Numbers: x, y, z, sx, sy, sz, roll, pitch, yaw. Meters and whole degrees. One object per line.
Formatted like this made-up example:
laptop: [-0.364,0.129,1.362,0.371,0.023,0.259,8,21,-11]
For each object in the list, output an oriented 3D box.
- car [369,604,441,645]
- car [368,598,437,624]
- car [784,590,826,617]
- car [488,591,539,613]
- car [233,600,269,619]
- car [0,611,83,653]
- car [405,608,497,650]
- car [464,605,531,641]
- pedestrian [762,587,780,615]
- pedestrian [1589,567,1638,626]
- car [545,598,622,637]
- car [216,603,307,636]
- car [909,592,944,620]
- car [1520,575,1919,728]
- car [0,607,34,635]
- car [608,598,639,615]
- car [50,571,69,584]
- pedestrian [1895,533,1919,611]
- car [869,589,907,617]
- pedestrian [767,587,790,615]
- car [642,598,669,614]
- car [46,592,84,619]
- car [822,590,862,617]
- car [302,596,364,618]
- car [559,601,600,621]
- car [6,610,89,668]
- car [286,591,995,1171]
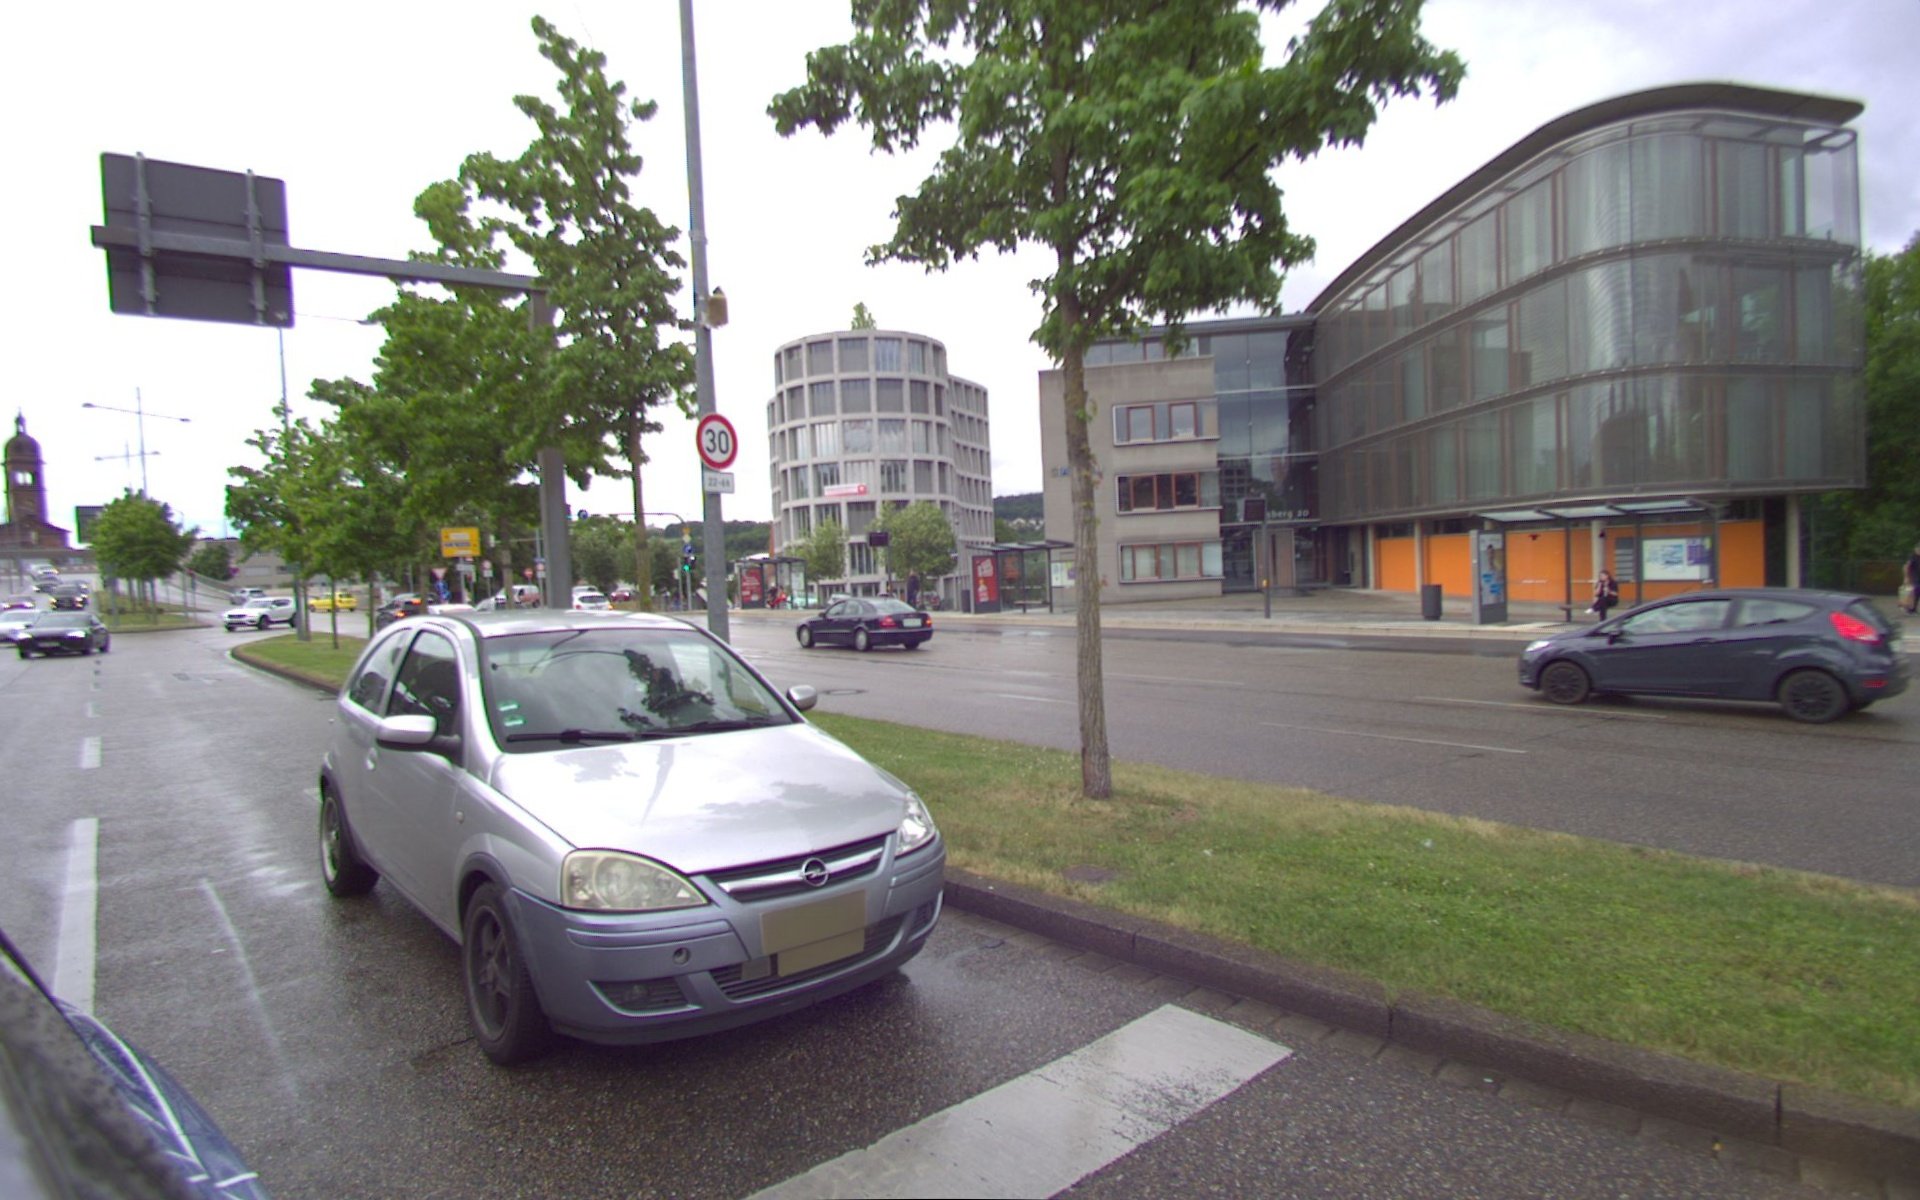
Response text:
car: [-22.659,0.945,41.250,1.979,1.566,4.173,-1,0,-38]
car: [-35.766,0.679,65.075,1.854,1.646,4.150,-1,0,6]
car: [-10.152,0.236,66.573,1.853,1.714,4.152,-1,0,5]
car: [-34.868,0.115,79.116,1.854,1.646,4.150,-1,0,6]
car: [-63.503,0.841,90.664,4.158,1.646,1.850,-1,0,43]
car: [-38.486,1.284,41.662,1.783,1.571,4.058,-1,0,-10]
car: [-17.942,0.973,35.607,1.980,1.363,4.171,-1,0,-40]
car: [-20.099,0.960,43.919,1.673,1.476,4.461,-1,0,-38]
pedestrian: [-10.127,0.048,54.137,0.721,1.501,0.736,-1,0,-32]
pedestrian: [14.793,-0.083,22.905,0.658,1.309,0.721,-1,0,-35]
car: [-16.635,0.742,44.590,1.930,1.630,4.216,-1,0,-39]
car: [-37.074,1.007,53.860,1.851,1.646,4.300,-1,0,1]
car: [-2.155,0.368,66.093,1.853,1.714,4.152,-1,0,5]
car: [9.086,0.512,12.084,1.655,1.523,3.872,-1,0,-37]
car: [-70.868,1.521,76.014,1.970,2.029,4.004,-1,0,-43]
car: [-34.205,0.678,102.907,1.850,1.646,4.158,-1,0,-1]
car: [-119.843,-2.961,134.648,3.651,1.572,1.626,0,0,44]
pedestrian: [22.187,-0.649,23.189,0.772,1.769,0.828,-3,1,-20]
car: [-4.676,0.166,66.009,1.853,1.714,4.152,-1,0,5]
pedestrian: [-9.557,0.046,53.362,0.968,1.501,0.736,-1,0,-30]
car: [-34.911,0.652,116.031,1.868,1.726,4.218,-1,0,0]
car: [-70.703,0.434,79.893,4.002,2.029,1.971,0,0,44]
car: [-7.687,0.211,66.259,1.853,1.714,4.152,-1,0,5]
car: [-49.512,0.573,79.927,4.122,1.646,1.866,-1,0,18]
car: [-34.234,0.945,91.100,1.853,1.646,4.280,-1,0,4]
car: [-29.655,1.199,32.987,1.847,1.714,4.164,-1,0,-40]
car: [-1.731,0.720,4.549,1.674,1.476,3.725,-1,0,-41]
